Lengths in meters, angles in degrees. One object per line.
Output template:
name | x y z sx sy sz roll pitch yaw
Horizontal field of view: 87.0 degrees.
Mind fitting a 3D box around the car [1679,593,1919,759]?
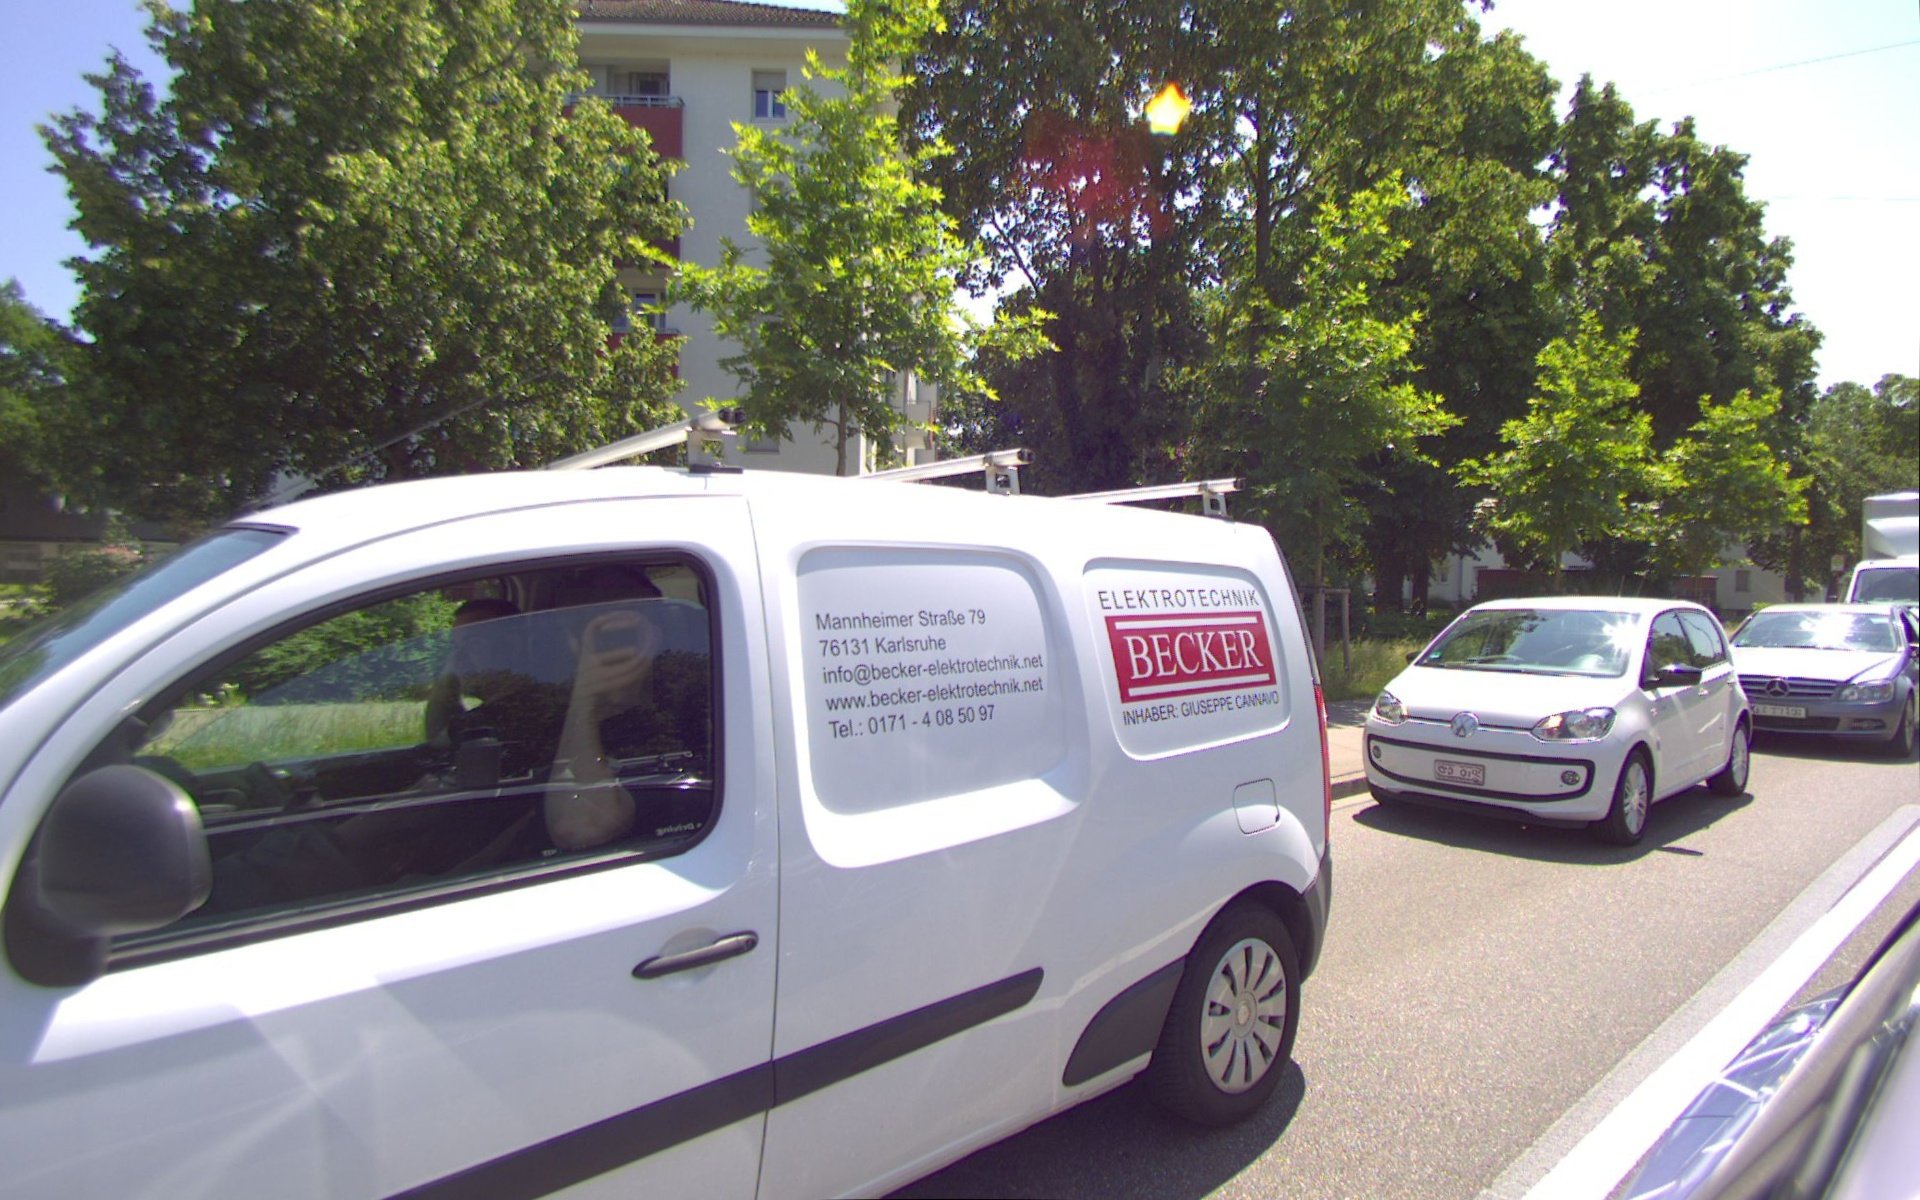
car | 9.427 0.660 10.900 4.016 1.426 1.839 0 1 -41

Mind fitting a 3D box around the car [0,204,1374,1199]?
car | -1.001 0.458 2.523 4.370 1.849 1.997 0 1 -41

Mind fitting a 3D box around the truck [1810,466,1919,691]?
truck | 17.448 -0.332 17.715 7.778 3.387 2.434 0 1 -39

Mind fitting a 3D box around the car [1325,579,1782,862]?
car | 4.393 0.626 7.276 3.705 1.497 1.729 0 1 -41
